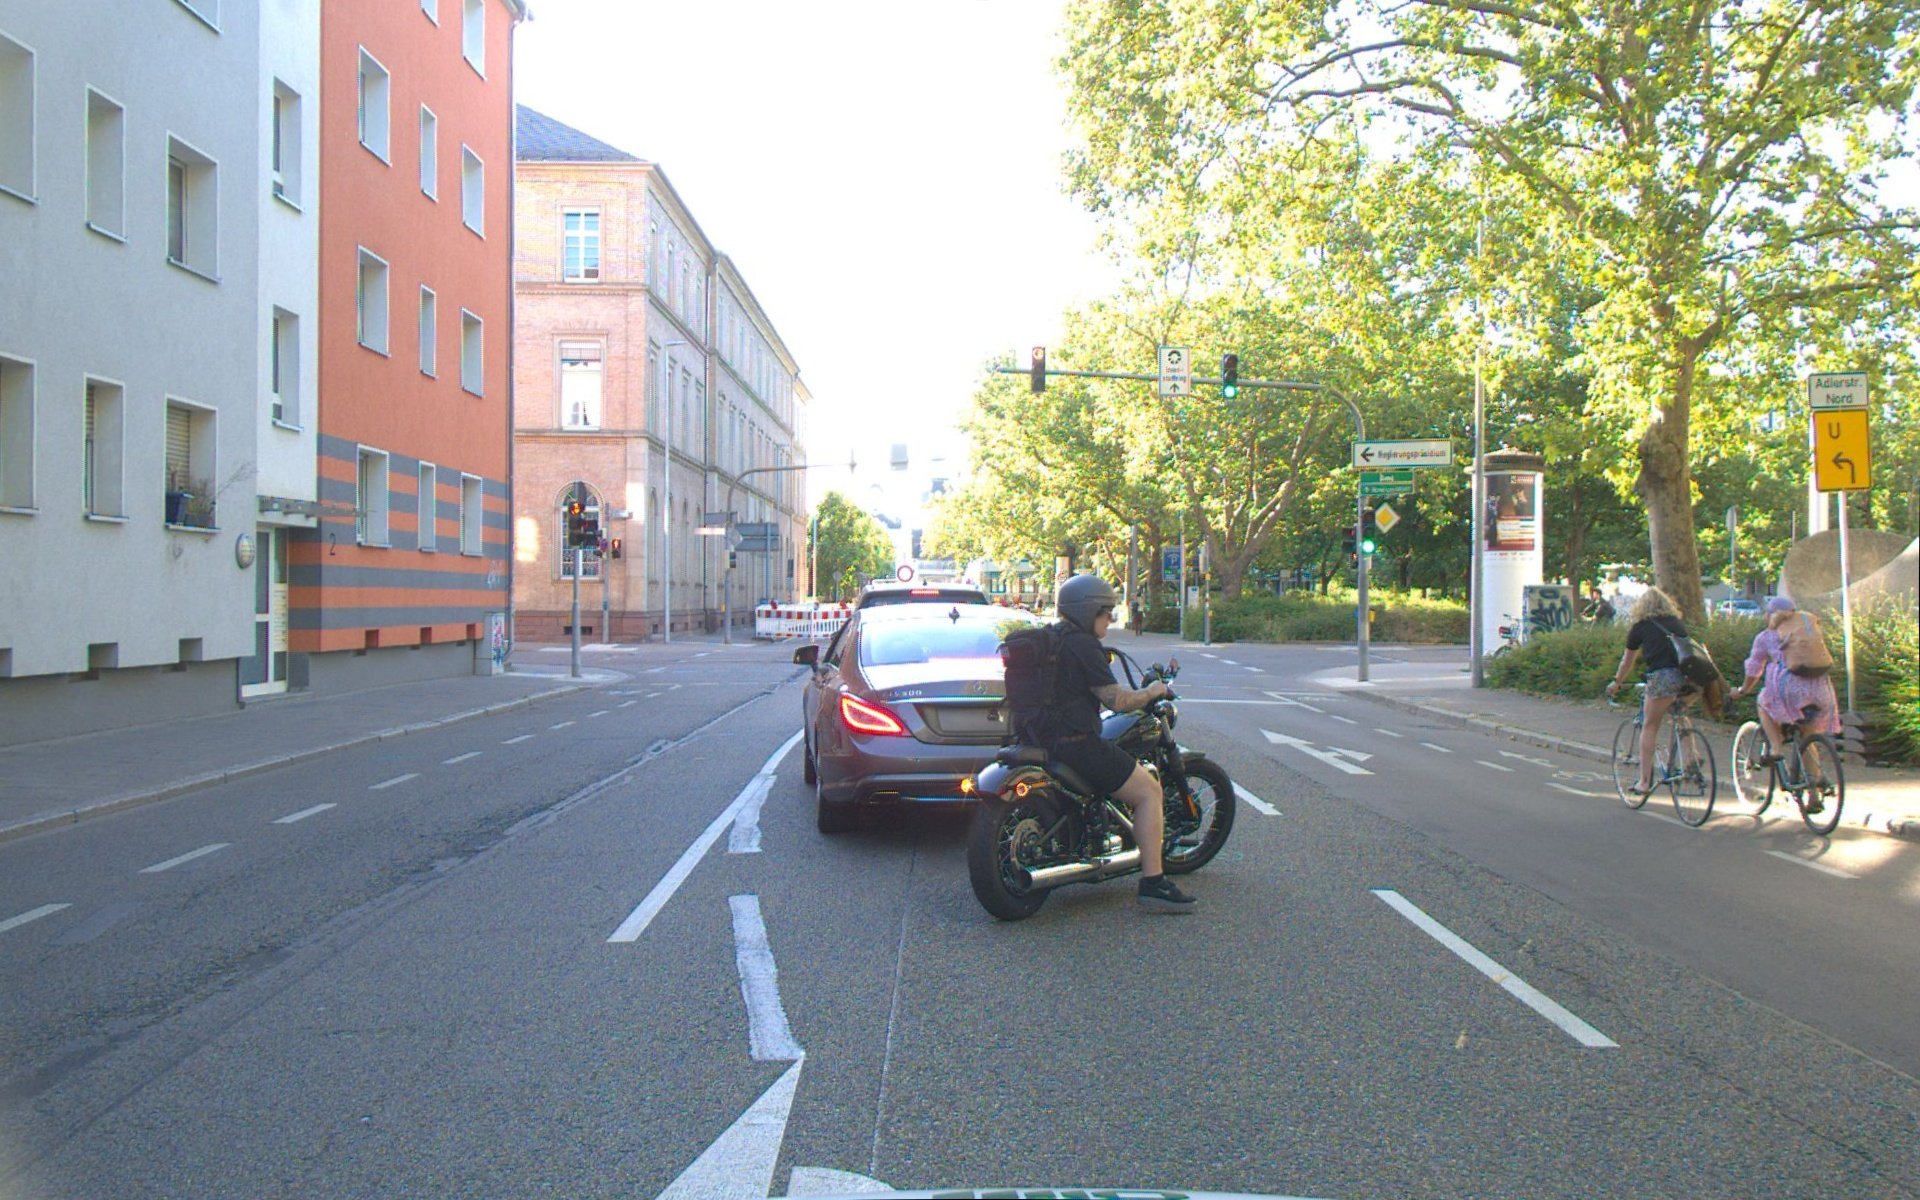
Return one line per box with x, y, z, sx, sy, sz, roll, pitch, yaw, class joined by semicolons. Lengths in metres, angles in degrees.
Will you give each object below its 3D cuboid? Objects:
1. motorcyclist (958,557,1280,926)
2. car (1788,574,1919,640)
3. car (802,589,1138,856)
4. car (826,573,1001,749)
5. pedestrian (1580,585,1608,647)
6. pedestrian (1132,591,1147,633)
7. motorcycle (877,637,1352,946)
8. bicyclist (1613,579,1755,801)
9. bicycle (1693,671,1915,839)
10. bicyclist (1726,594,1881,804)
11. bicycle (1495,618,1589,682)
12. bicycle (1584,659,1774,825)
0.795;0.626;8.174;1.097;1.641;1.195;0;0;42;motorcyclist
25.709;0.186;46.474;3.912;1.815;2.001;0;0;4;car
-0.134;0.690;11.618;1.787;1.502;4.346;0;0;-7;car
-0.501;0.577;17.550;1.647;1.653;3.839;0;0;-2;car
18.607;0.463;48.546;0.607;1.815;0.630;0;0;1;pedestrian
7.296;0.497;67.220;0.548;1.707;0.564;0;0;-1;pedestrian
0.864;0.828;8.245;0.992;1.225;2.649;0;0;42;motorcycle
5.248;0.629;12.029;0.598;1.542;0.889;2;0;-1;bicyclist
6.016;1.069;11.908;0.588;1.002;1.881;2;0;-1;bicycle
6.025;0.678;11.858;0.588;1.426;0.931;2;0;-1;bicyclist
9.700;0.831;27.593;1.387;1.055;0.538;0;0;-5;bicycle
5.236;1.000;12.159;0.598;1.044;1.731;2;0;-1;bicycle
